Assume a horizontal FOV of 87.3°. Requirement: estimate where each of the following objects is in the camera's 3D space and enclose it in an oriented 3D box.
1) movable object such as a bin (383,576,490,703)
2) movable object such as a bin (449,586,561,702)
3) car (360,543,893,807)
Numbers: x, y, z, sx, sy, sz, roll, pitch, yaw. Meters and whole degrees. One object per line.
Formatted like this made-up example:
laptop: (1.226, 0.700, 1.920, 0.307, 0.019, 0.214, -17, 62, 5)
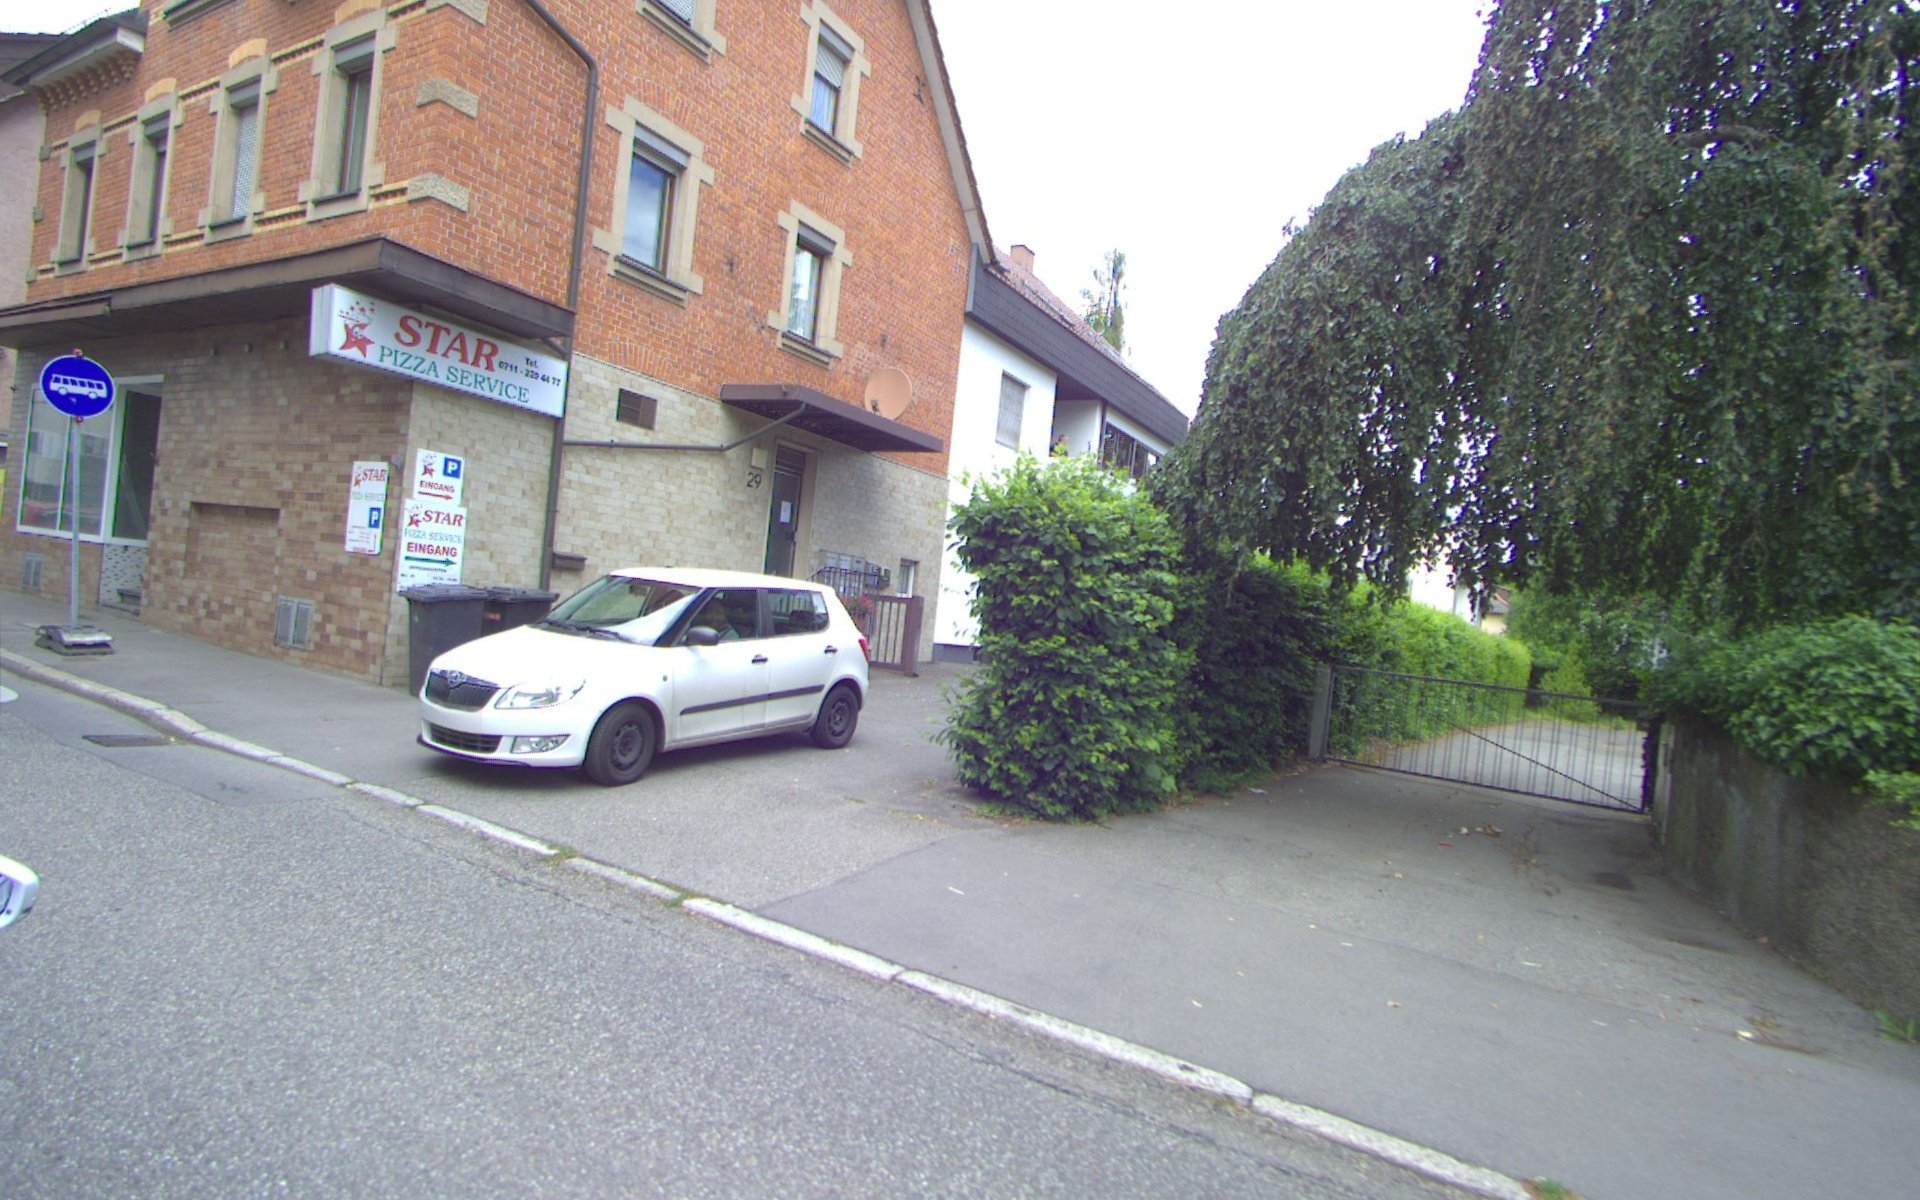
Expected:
movable object such as a bin: (-4.985, 0.370, 9.590, 0.612, 1.115, 0.606, 6, 2, 31)
movable object such as a bin: (-4.634, 0.441, 10.248, 0.711, 1.073, 0.699, 6, 1, 31)
car: (-2.343, 0.439, 8.120, 1.574, 1.490, 4.029, 6, 3, 29)
